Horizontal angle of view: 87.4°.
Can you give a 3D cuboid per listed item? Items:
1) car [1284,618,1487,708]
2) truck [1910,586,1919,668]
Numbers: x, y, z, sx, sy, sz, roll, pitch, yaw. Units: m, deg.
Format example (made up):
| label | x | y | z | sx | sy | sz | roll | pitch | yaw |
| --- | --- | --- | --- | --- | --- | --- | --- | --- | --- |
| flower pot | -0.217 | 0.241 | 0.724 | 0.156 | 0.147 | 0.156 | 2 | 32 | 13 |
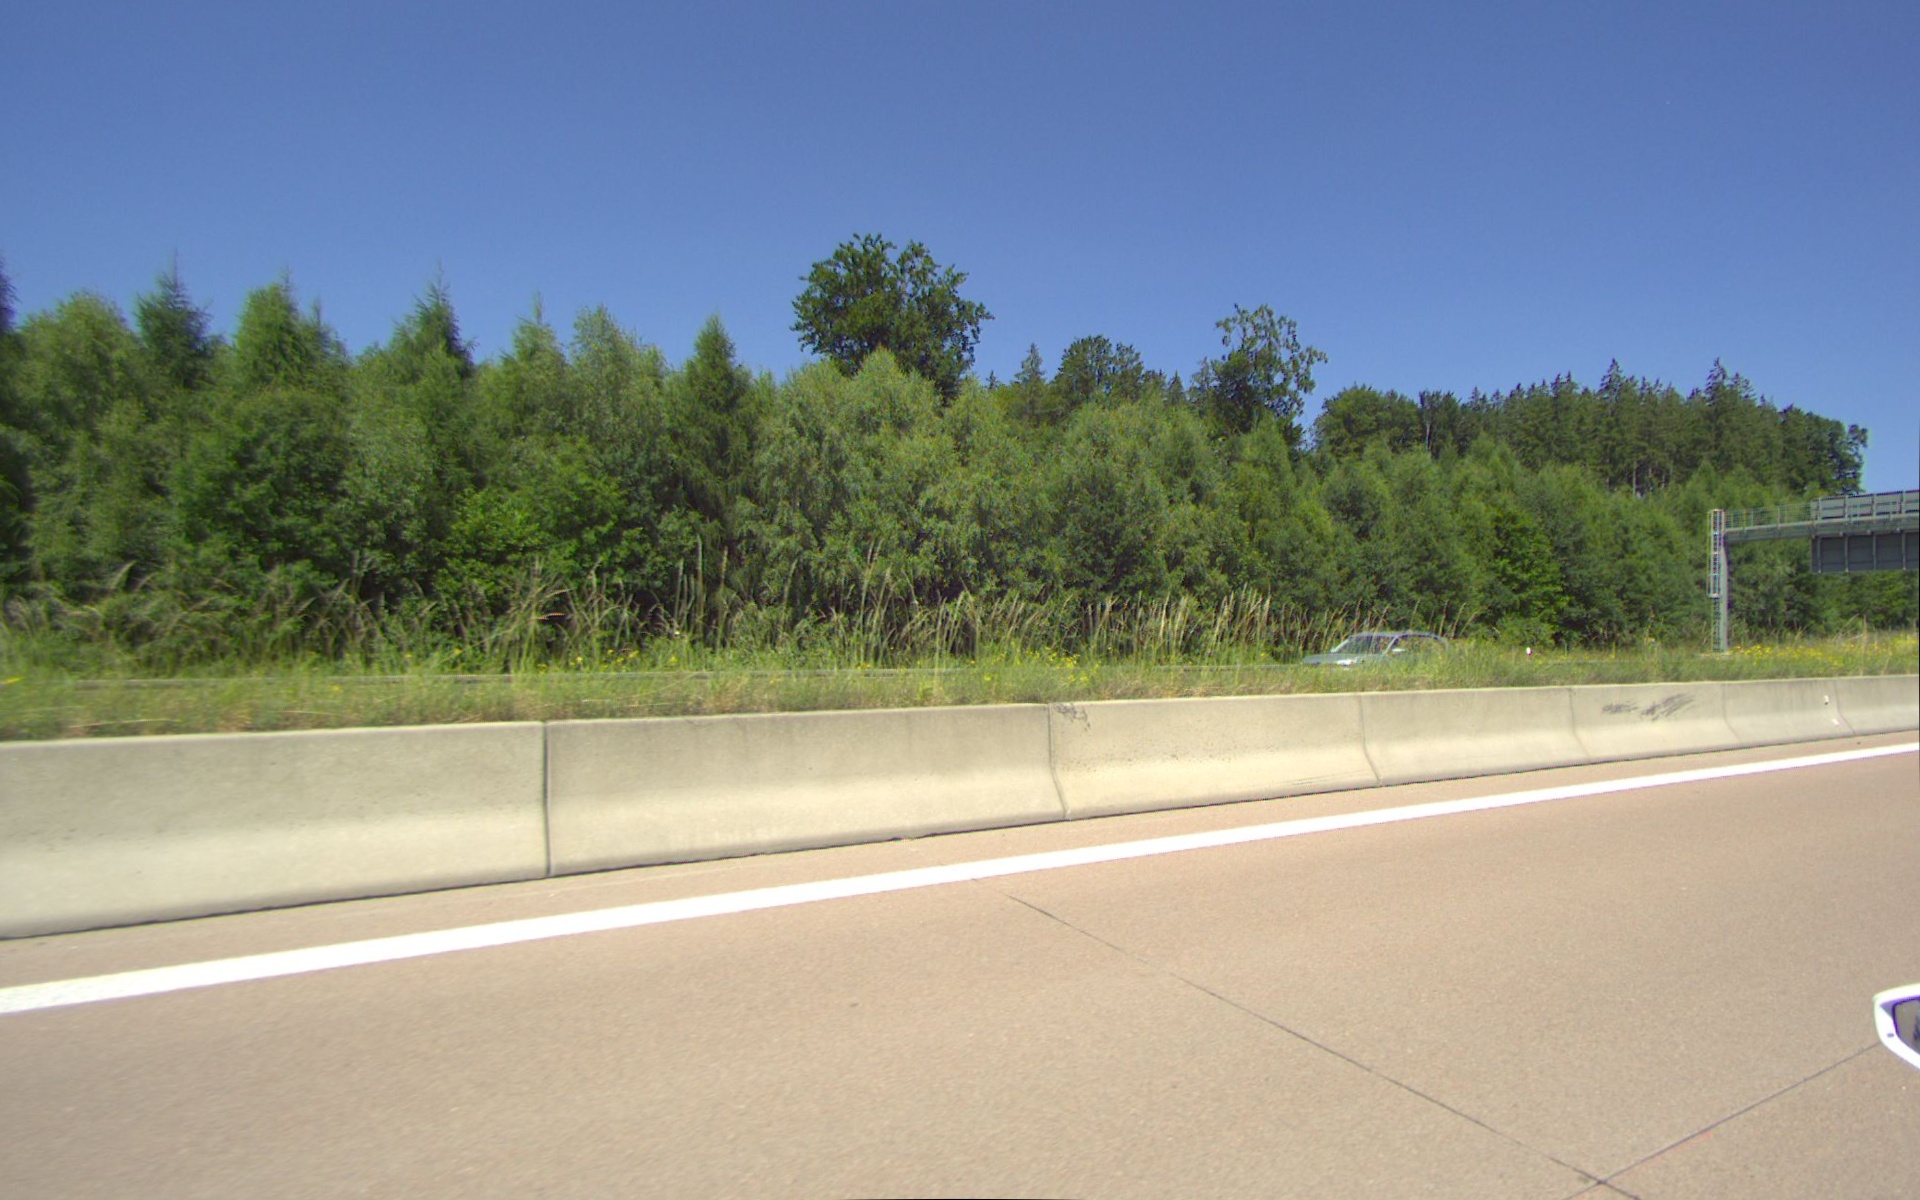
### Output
| label | x | y | z | sx | sy | sz | roll | pitch | yaw |
| --- | --- | --- | --- | --- | --- | --- | --- | --- | --- |
| car | 10.031 | 1.422 | 23.547 | 5.048 | 1.887 | 1.880 | 2 | -1 | -33 |
| truck | 55.088 | 1.523 | 55.049 | 6.401 | 4.439 | 2.690 | 1 | 0 | -30 |
